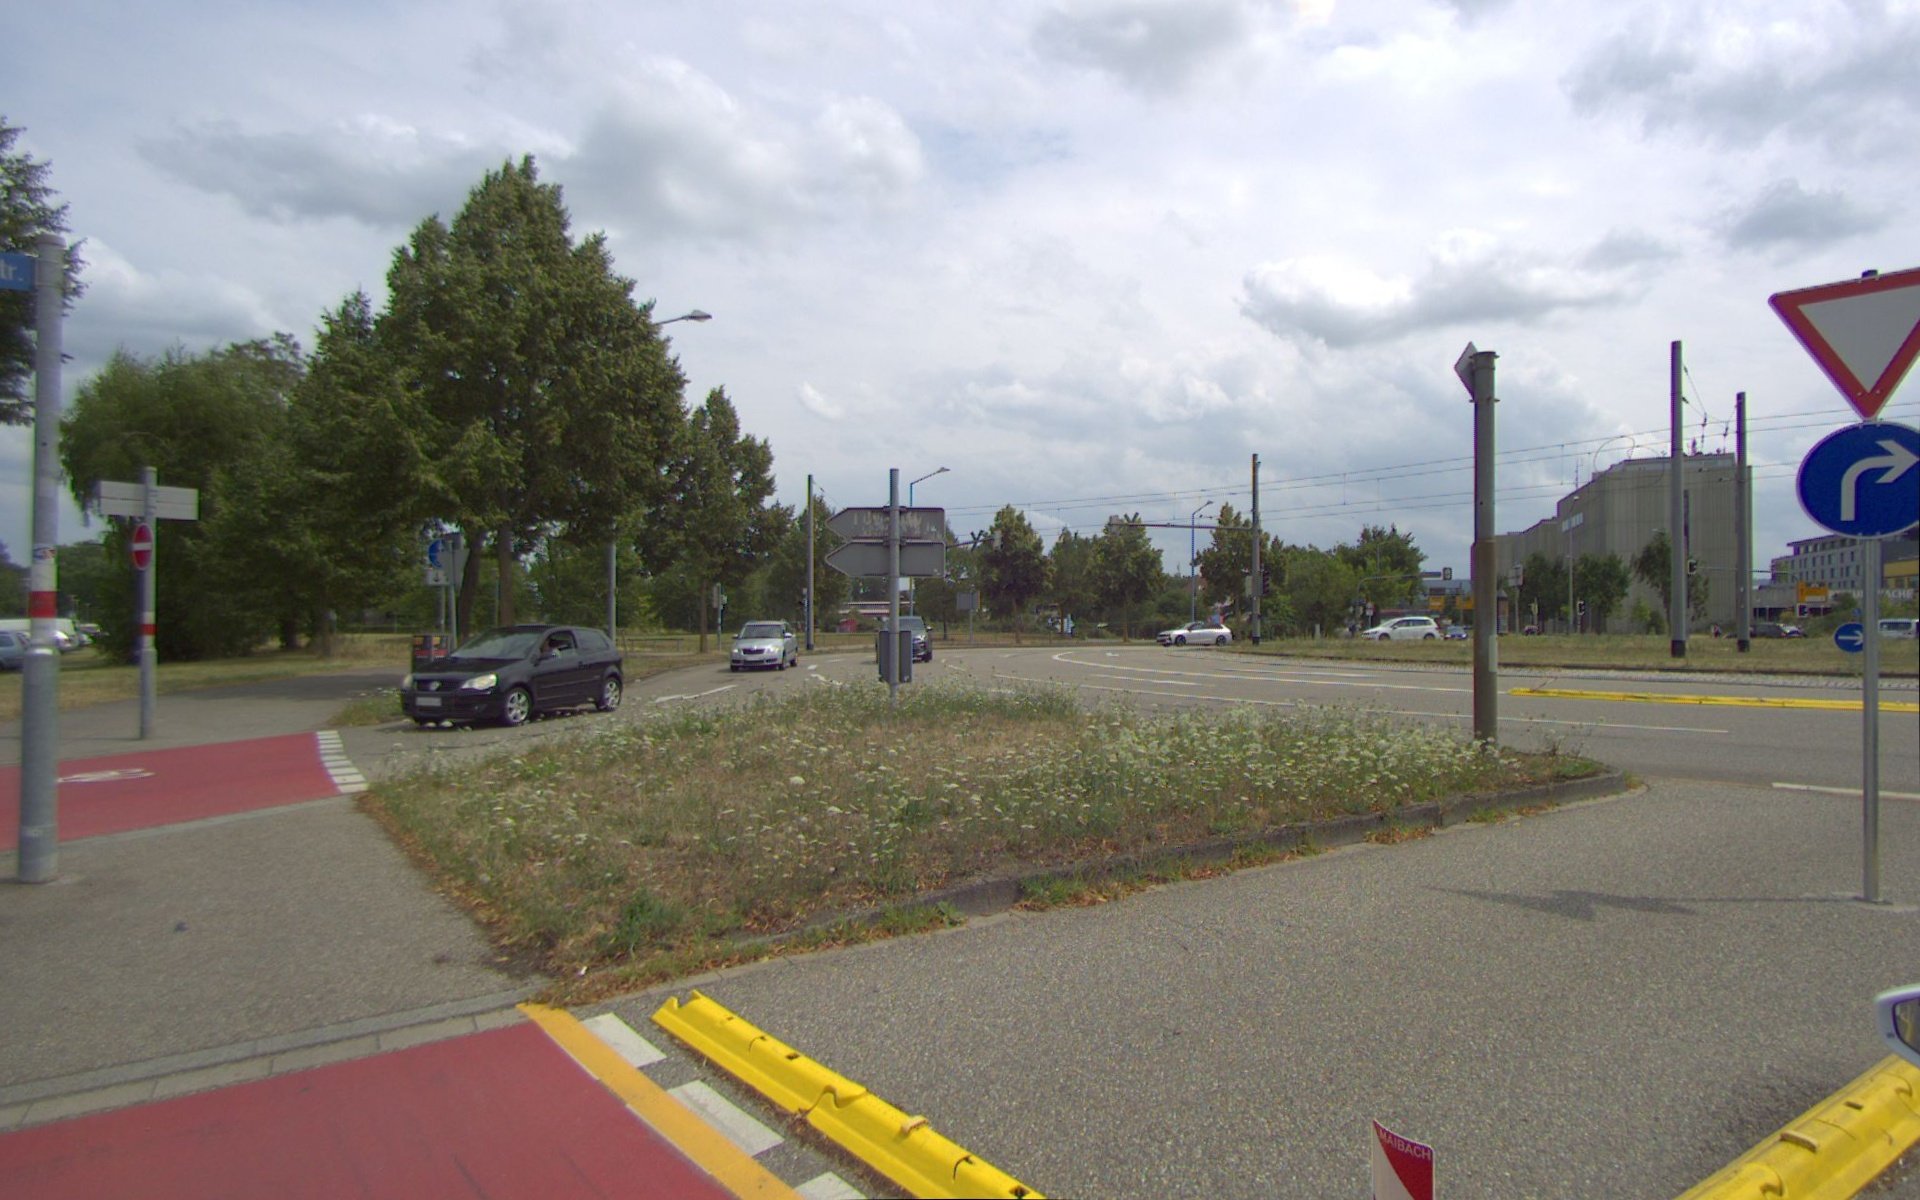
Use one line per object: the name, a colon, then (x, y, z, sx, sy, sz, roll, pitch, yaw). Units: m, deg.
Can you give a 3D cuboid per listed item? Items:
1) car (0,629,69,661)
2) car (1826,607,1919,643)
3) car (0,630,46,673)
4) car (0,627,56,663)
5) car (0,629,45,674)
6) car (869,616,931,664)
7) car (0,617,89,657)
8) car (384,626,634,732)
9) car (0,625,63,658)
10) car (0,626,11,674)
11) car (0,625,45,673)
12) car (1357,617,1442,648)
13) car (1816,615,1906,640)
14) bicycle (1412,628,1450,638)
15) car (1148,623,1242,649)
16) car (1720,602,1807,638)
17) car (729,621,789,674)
car: (-46.229, 2.182, 48.778, 4.275, 1.491, 1.812, 1, -1, -39)
car: (54.398, 1.461, 59.448, 1.969, 2.040, 4.343, 2, -1, -19)
car: (-35.411, 1.825, 35.193, 4.847, 1.491, 1.812, 1, -1, -39)
car: (-41.427, 1.894, 42.699, 4.350, 1.491, 1.812, 1, -1, -39)
car: (-33.832, 1.728, 33.419, 4.847, 1.491, 1.812, 1, -1, -39)
car: (-2.031, 1.348, 35.368, 2.024, 1.572, 4.474, 0, -1, -2)
car: (-49.368, 1.914, 52.674, 5.527, 2.083, 2.175, 1, -1, -41)
car: (-6.811, 1.150, 15.604, 1.599, 1.433, 3.724, -2, -2, 13)
car: (-44.649, 1.936, 46.718, 4.275, 1.491, 1.812, 1, -1, -39)
car: (-30.105, 1.552, 29.702, 1.464, 1.442, 2.898, -2, 0, 44)
car: (-31.891, 1.611, 31.478, 4.671, 1.491, 1.811, -2, 1, -42)
car: (26.567, 1.948, 60.836, 4.269, 1.687, 1.939, -2, -1, 0)
car: (56.848, 1.716, 63.445, 1.800, 1.483, 3.995, 2, -1, -8)
bicycle: (37.818, 2.650, 80.722, 2.605, 0.866, 0.864, 0, -1, 4)
car: (13.855, 2.123, 59.346, 5.098, 1.502, 1.994, 0, -1, -16)
car: (48.356, 1.210, 60.559, 1.961, 2.040, 3.999, 2, -1, -2)
car: (-6.356, 1.426, 31.448, 1.601, 1.539, 4.206, 0, -1, -15)
